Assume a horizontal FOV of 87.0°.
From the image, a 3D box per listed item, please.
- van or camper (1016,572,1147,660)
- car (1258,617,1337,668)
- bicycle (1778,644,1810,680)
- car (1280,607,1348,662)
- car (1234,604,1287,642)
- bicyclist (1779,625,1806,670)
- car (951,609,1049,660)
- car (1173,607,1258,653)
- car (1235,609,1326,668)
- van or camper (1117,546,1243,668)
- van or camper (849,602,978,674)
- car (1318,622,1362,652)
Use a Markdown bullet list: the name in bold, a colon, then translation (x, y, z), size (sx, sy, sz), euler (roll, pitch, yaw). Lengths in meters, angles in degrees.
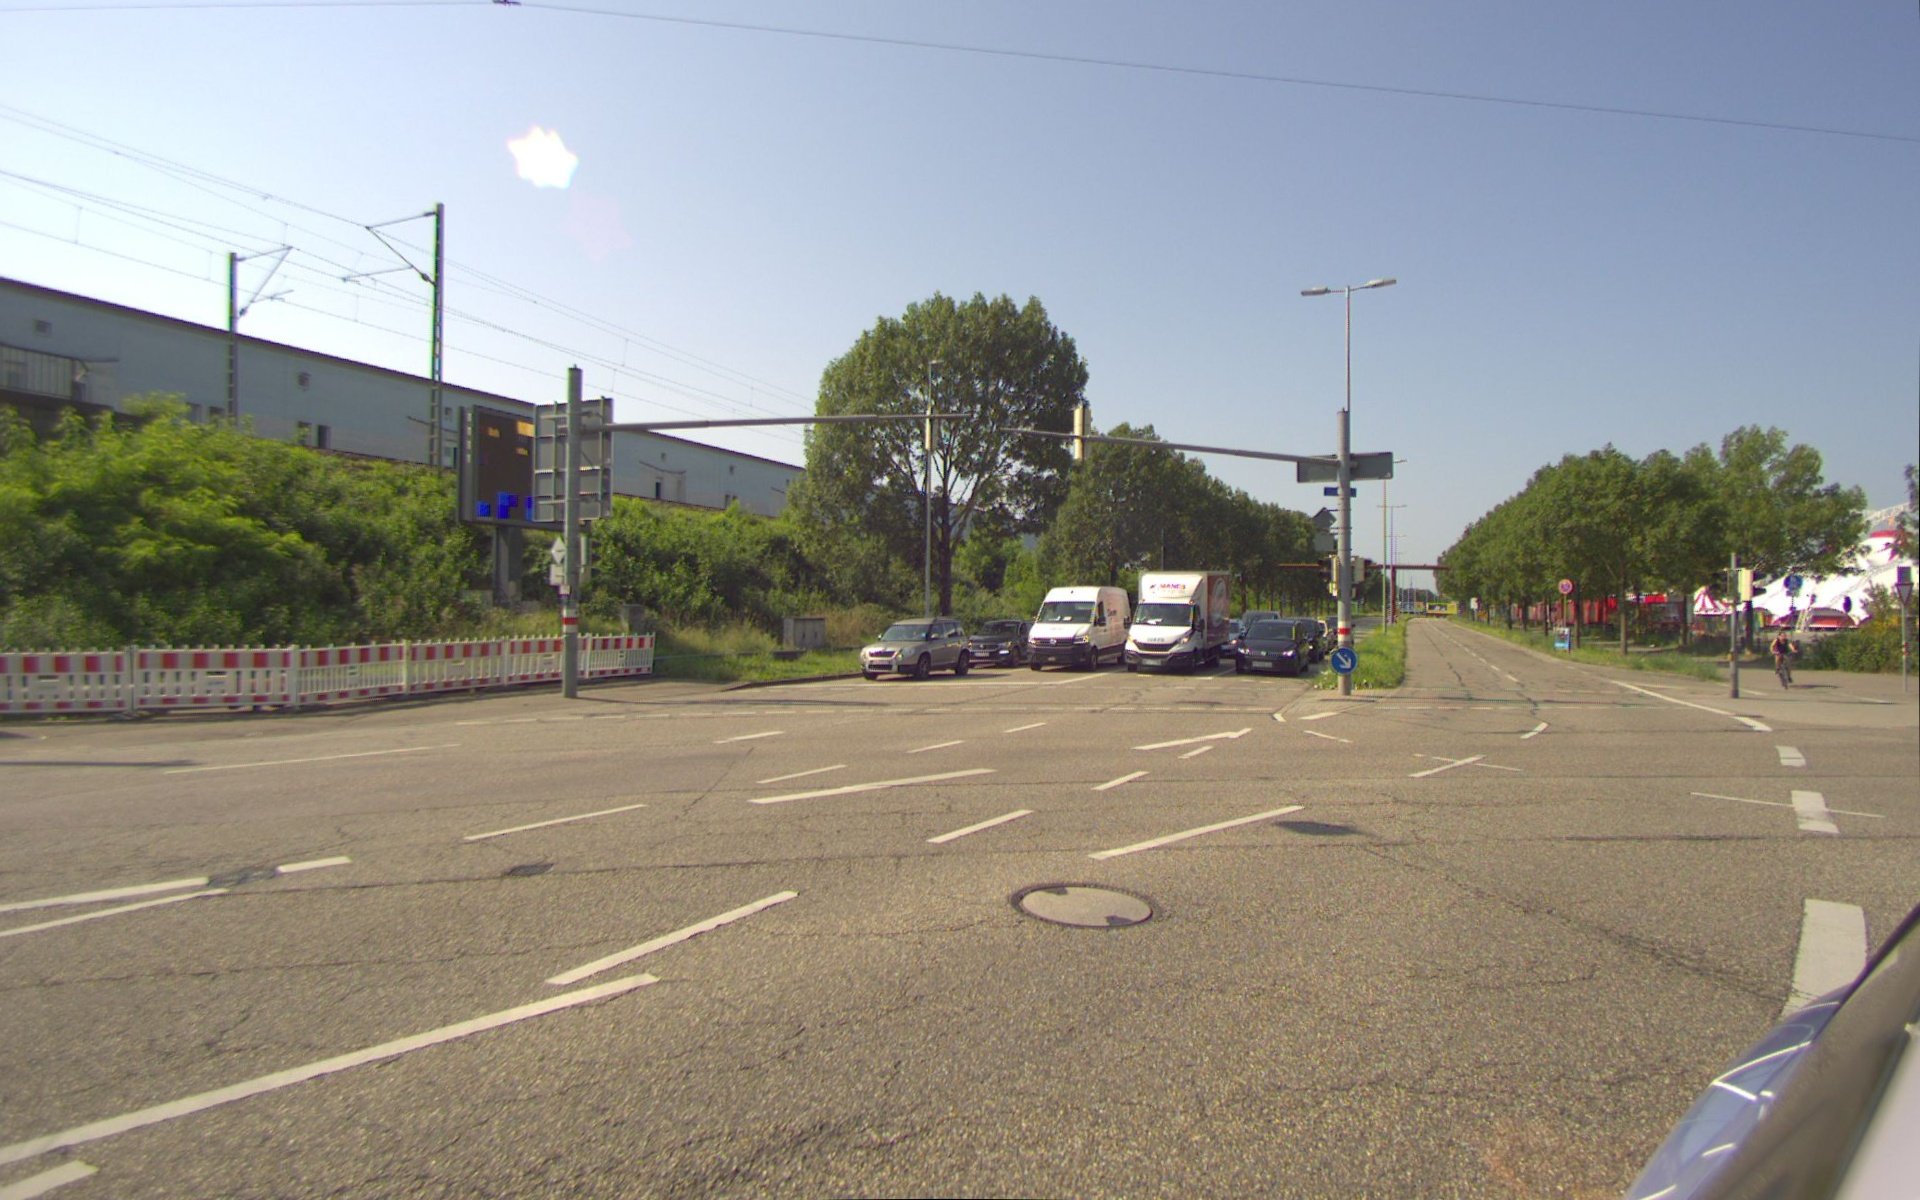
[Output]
- **van or camper**: translation (4.053, 0.625, 32.358), size (2.225, 2.515, 6.805), euler (-2, -3, 24)
- **car**: translation (12.727, 1.618, 37.932), size (2.124, 1.763, 5.173), euler (-2, -3, 26)
- **bicycle**: translation (25.526, 1.883, 30.965), size (1.469, 1.070, 0.571), euler (3, -4, -44)
- **car**: translation (15.879, 1.576, 45.234), size (2.227, 2.291, 5.173), euler (-2, -3, 26)
- **car**: translation (14.301, 1.122, 48.015), size (1.642, 1.686, 3.715), euler (-2, -3, 29)
- **bicyclist**: translation (25.595, 1.460, 31.099), size (0.685, 1.382, 0.501), euler (3, -4, -43)
- **car**: translation (1.398, 1.100, 33.485), size (1.977, 1.572, 3.969), euler (-1, -1, 23)
- **car**: translation (9.844, 1.178, 38.718), size (2.145, 1.630, 4.927), euler (-2, -3, 26)
- **car**: translation (9.908, 1.207, 31.067), size (1.887, 1.634, 5.146), euler (-2, -3, 26)
- **van or camper**: translation (7.032, 0.360, 31.660), size (2.227, 3.407, 6.785), euler (-2, -3, 26)
- **van or camper**: translation (-1.182, 1.061, 27.567), size (1.832, 1.800, 4.137), euler (-2, -3, 25)
- **car**: translation (18.886, 1.820, 50.248), size (1.640, 1.416, 3.719), euler (-2, -2, 27)
